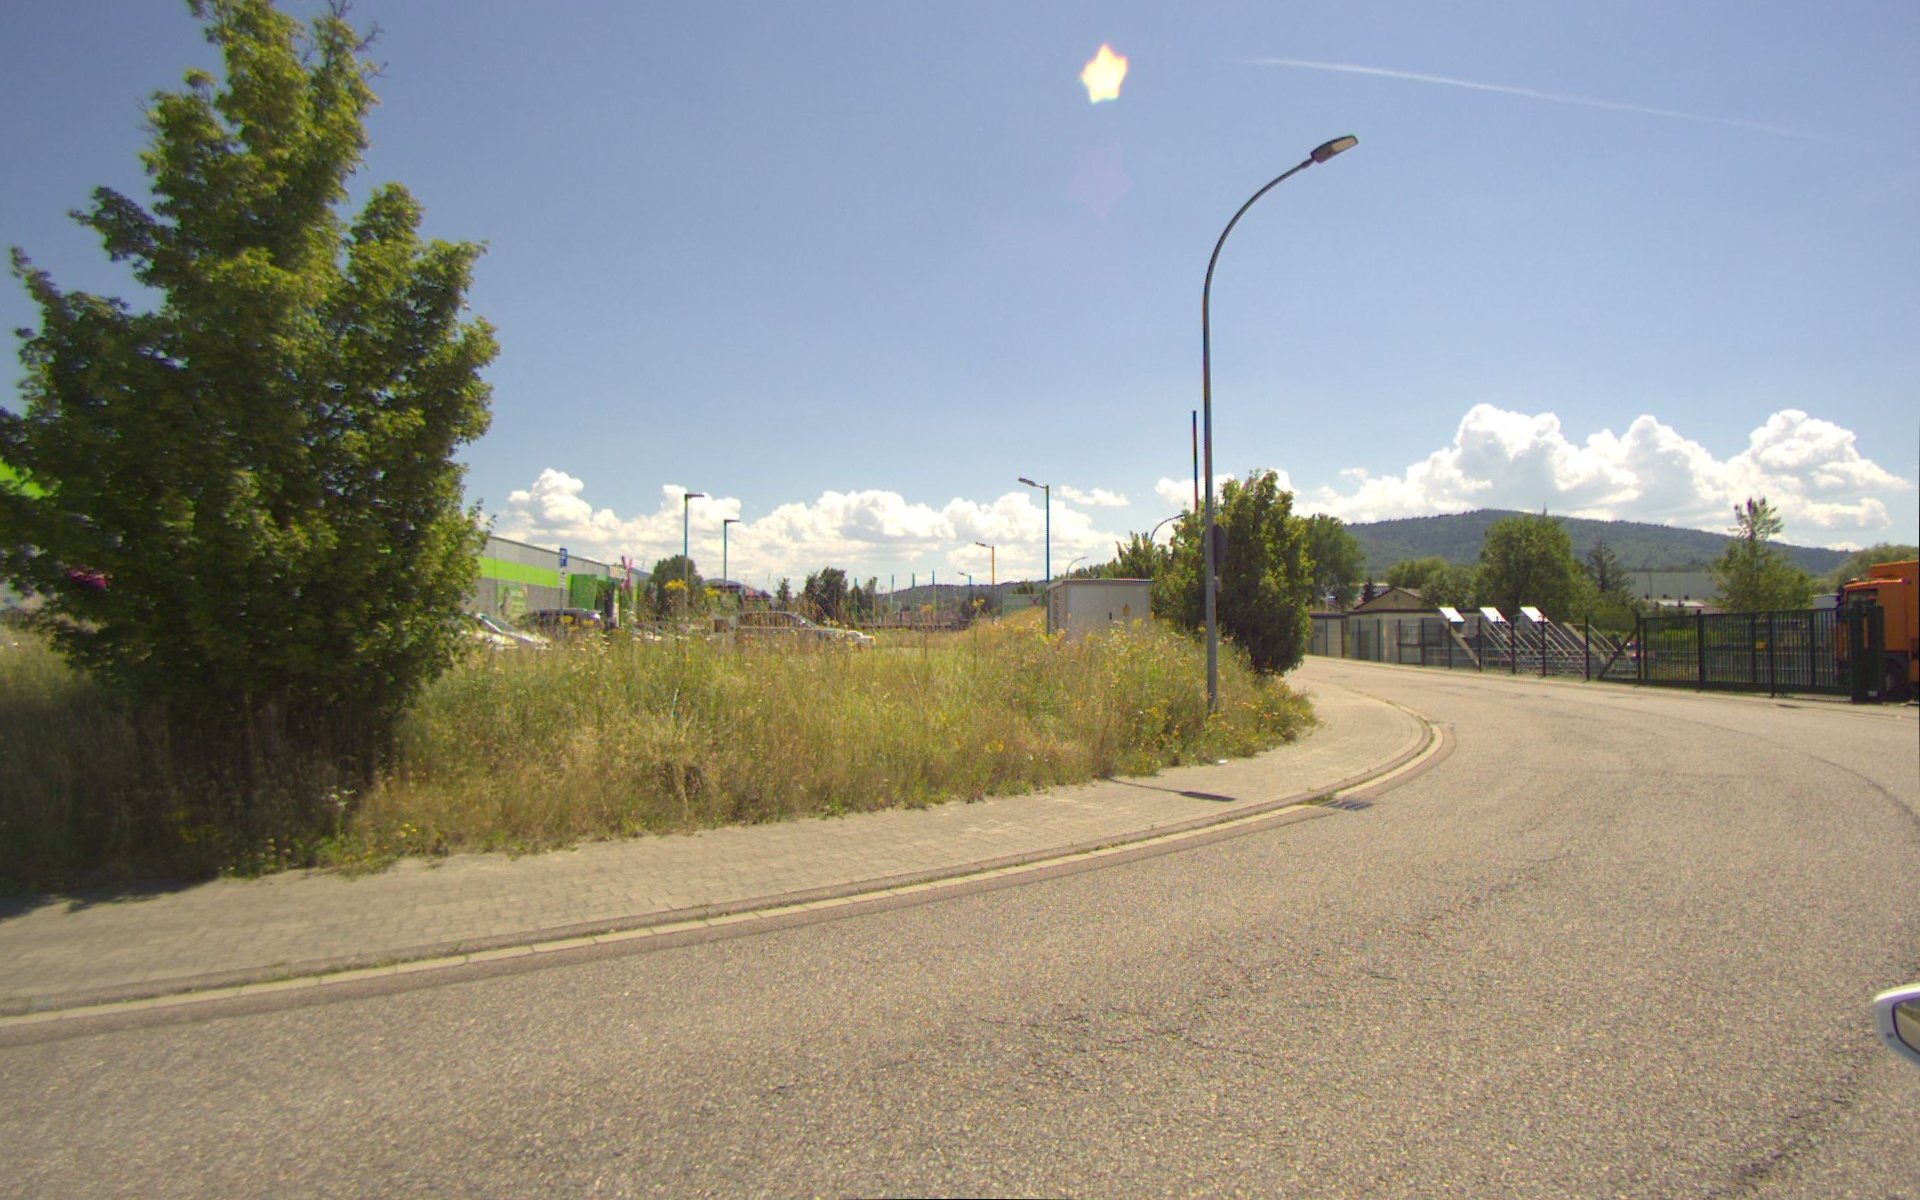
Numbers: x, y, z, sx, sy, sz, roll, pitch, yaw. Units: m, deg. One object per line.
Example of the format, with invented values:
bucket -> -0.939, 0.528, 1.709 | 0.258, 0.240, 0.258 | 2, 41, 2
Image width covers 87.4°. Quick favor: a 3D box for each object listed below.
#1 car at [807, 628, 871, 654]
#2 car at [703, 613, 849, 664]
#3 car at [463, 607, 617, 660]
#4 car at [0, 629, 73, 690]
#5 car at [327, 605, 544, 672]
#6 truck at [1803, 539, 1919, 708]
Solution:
car -> -7.552, 2.563, 63.123 | 3.924, 1.565, 1.999 | 0, -1, -5
car -> -6.231, 1.301, 34.444 | 4.747, 1.680, 1.999 | 0, -1, -5
car -> -12.834, 1.021, 30.920 | 3.924, 1.565, 1.999 | 0, -1, -5
car -> -22.910, 1.349, 22.857 | 3.924, 1.342, 1.490 | 0, -1, -5
car -> -11.873, 0.859, 22.981 | 3.924, 1.431, 1.999 | 0, -1, -5
truck -> 24.156, 0.470, 21.696 | 4.086, 3.856, 8.605 | 0, -2, -6
